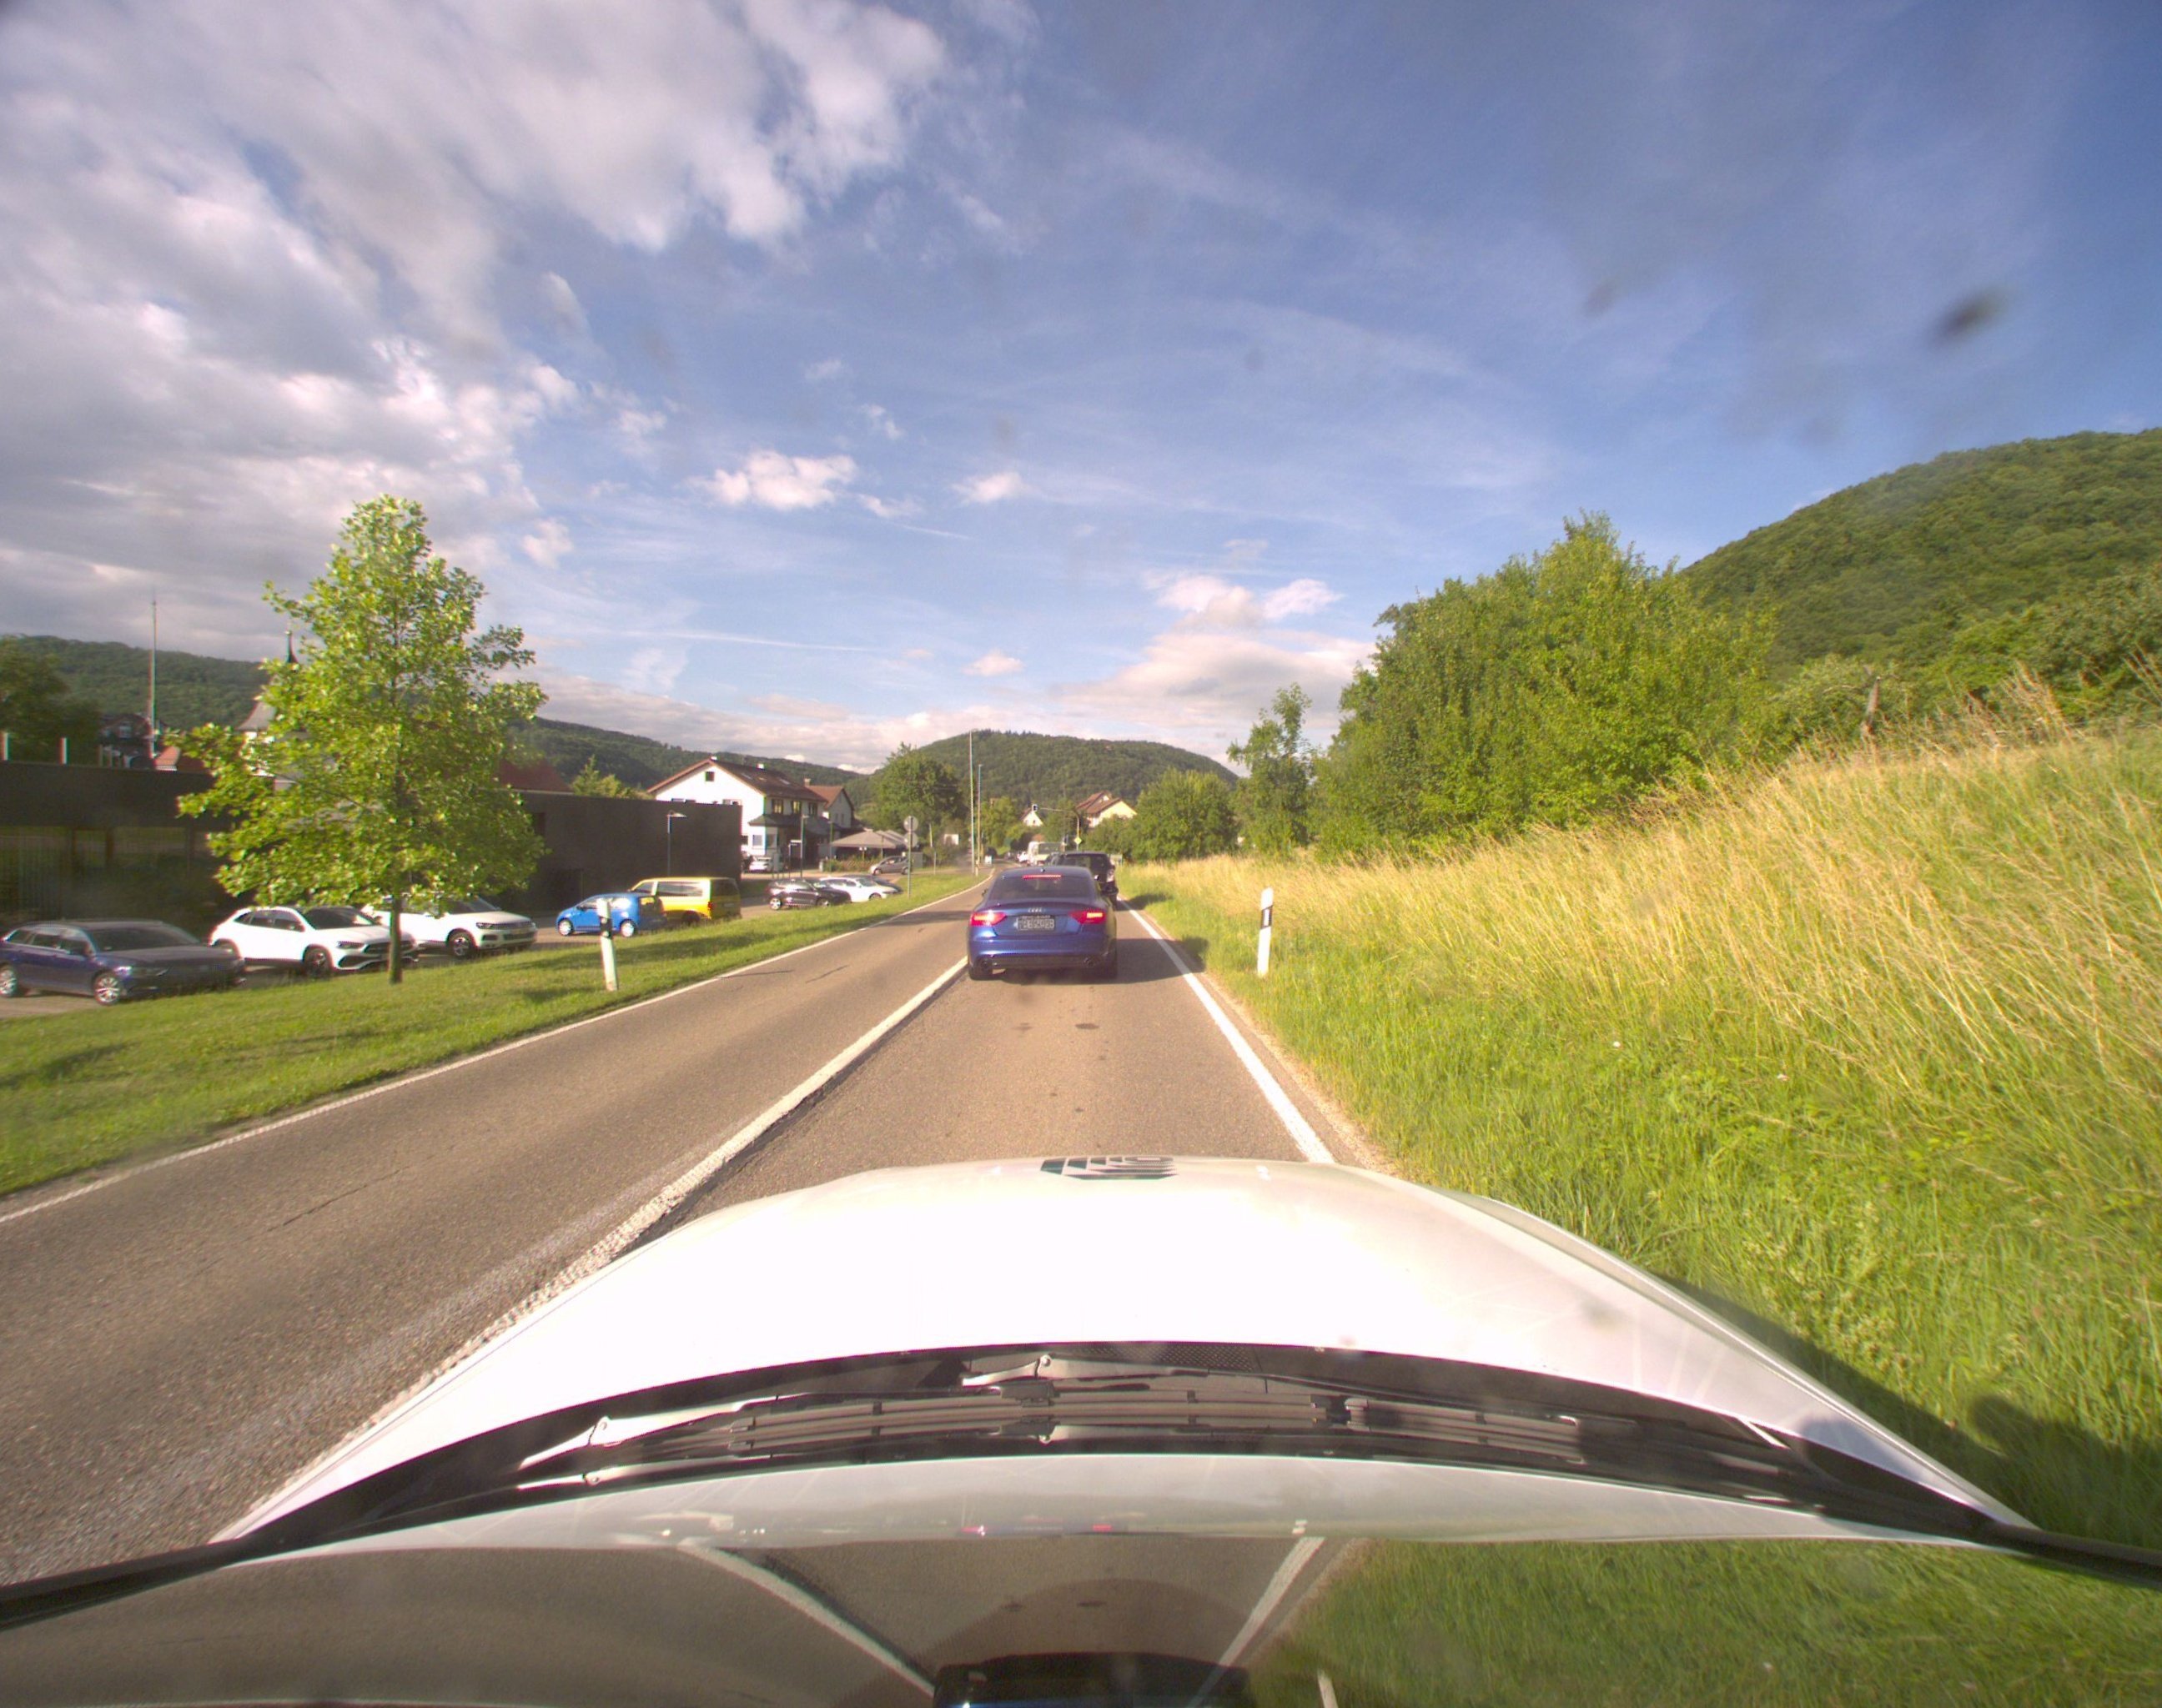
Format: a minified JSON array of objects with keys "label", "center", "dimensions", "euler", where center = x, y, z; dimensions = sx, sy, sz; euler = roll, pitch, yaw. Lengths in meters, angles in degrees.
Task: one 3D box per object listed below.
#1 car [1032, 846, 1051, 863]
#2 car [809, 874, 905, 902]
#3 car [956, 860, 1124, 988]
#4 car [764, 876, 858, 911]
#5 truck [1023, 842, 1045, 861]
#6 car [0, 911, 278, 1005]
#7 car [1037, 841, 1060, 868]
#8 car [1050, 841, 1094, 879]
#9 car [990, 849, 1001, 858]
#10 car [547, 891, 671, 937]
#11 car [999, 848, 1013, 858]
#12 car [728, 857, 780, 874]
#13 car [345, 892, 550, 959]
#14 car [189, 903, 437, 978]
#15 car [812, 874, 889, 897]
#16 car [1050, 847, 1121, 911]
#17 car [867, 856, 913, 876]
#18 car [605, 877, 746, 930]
[{"label":"car","center":[-3.901,0.108,80.546],"dimensions":[1.743,1.639,3.993],"euler":[0,-1,-5]},{"label":"car","center":[-12.452,1.879,45.290],"dimensions":[4.783,1.493,1.887],"euler":[0,-1,11]},{"label":"car","center":[-0.350,0.804,11.031],"dimensions":[1.787,1.388,4.004],"euler":[-1,-1,4]},{"label":"car","center":[-13.498,1.953,40.831],"dimensions":[3.999,1.637,2.006],"euler":[0,-1,11]},{"label":"truck","center":[-4.960,-0.206,85.803],"dimensions":[1.697,1.953,5.902],"euler":[0,-1,-10]},{"label":"car","center":[-18.939,1.984,16.184],"dimensions":[4.509,1.555,2.006],"euler":[0,-1,11]},{"label":"car","center":[-2.699,0.069,67.184],"dimensions":[1.743,2.195,3.993],"euler":[0,-1,-5]},{"label":"car","center":[-0.360,0.285,37.960],"dimensions":[1.797,1.639,4.466],"euler":[0,-1,3]},{"label":"car","center":[-15.405,-0.148,146.446],"dimensions":[1.626,1.576,3.666],"euler":[0,-1,-10]},{"label":"car","center":[-16.424,2.068,28.419],"dimensions":[3.473,1.472,1.637],"euler":[0,-1,9]},{"label":"car","center":[-11.339,-0.131,123.227],"dimensions":[1.700,1.490,3.510],"euler":[0,-1,-13]},{"label":"car","center":[-28.156,0.967,70.247],"dimensions":[1.748,1.442,4.022],"euler":[-1,-1,23]},{"label":"car","center":[-17.687,1.944,22.823],"dimensions":[4.509,1.703,2.006],"euler":[0,-1,11]},{"label":"car","center":[-18.244,1.995,19.440],"dimensions":[4.509,1.555,2.006],"euler":[0,-1,11]},{"label":"car","center":[-13.581,1.833,48.017],"dimensions":[3.966,1.310,1.764],"euler":[0,-1,7]},{"label":"car","center":[0.204,0.655,22.864],"dimensions":[1.738,1.639,4.004],"euler":[0,-1,4]},{"label":"car","center":[-15.834,0.981,67.622],"dimensions":[3.476,1.662,1.726],"euler":[0,-1,-25]},{"label":"car","center":[-15.359,1.826,30.940],"dimensions":[4.577,1.868,2.008],"euler":[0,-1,14]}]
